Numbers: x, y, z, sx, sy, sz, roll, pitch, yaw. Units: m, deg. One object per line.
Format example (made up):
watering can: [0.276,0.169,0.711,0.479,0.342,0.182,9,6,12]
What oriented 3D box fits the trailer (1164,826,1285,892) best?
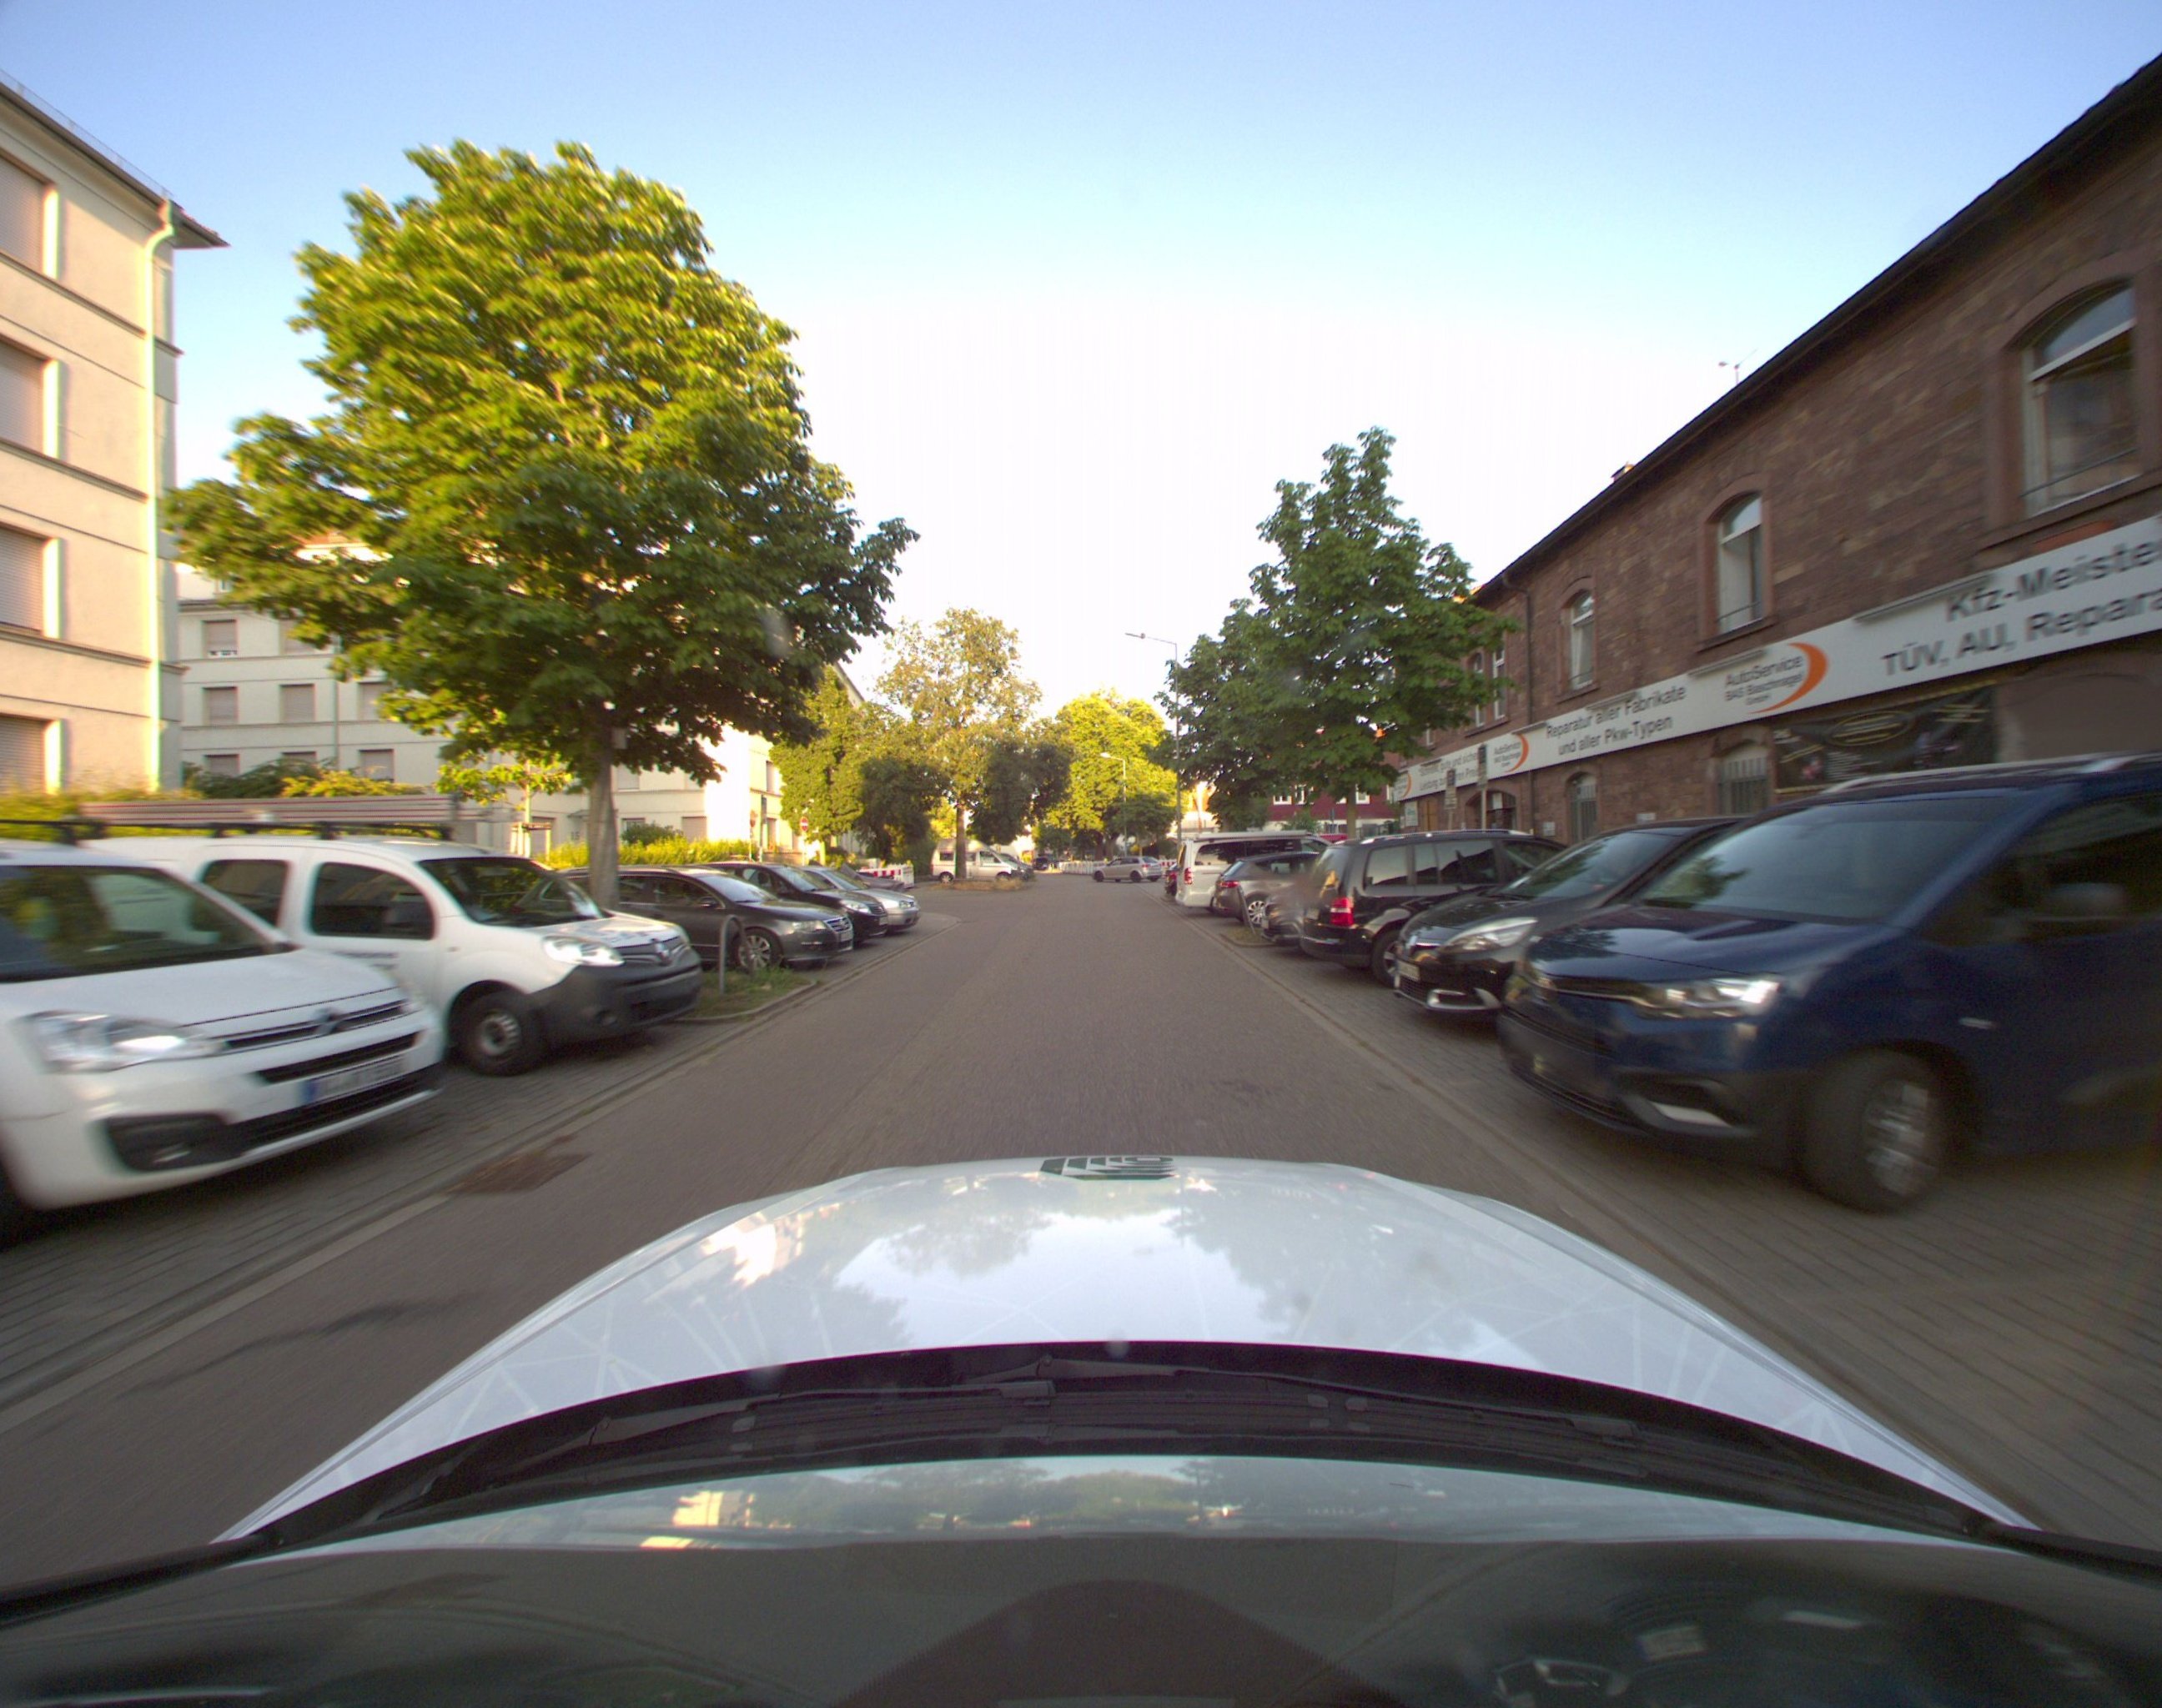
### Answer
trailer: [5.023,0.182,28.976,3.973,2.187,2.000,-1,-1,1]

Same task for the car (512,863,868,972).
car: [-5.564,0.862,11.966,4.308,1.405,1.853,1,0,3]

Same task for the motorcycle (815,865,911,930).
motorcycle: [-4.968,0.979,18.666,1.981,1.436,0.721,-1,-1,-4]

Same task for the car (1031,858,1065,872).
car: [-4.797,1.572,118.668,4.567,2.023,2.089,-1,-1,-17]

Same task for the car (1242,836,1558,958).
car: [4.530,0.584,11.976,3.936,1.565,1.819,-1,-1,-3]

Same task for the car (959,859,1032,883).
car: [-5.153,1.025,49.326,4.231,1.394,1.684,-1,-1,-1]

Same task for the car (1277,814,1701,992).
car: [4.565,0.522,9.610,3.974,1.618,1.895,-4,-1,0]

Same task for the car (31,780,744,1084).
car: [-5.588,0.529,6.977,4.491,2.070,2.003,2,1,5]

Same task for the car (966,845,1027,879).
car: [-6.455,0.611,62.344,4.496,2.431,1.996,-1,-1,-6]

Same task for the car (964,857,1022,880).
car: [-5.859,0.967,54.629,3.762,1.439,1.653,-1,-1,-5]

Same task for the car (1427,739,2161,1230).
car: [4.631,0.390,4.177,4.770,1.753,2.018,-5,0,1]

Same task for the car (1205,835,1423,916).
car: [4.651,0.428,16.710,3.973,1.510,1.777,-1,-1,1]

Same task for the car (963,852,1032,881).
car: [-5.844,0.859,57.206,4.668,1.874,1.996,-1,-1,-6]

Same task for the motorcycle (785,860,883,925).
motorcycle: [-6.245,0.972,20.676,2.221,1.582,0.774,-1,-1,4]

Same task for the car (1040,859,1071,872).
car: [-3.570,1.603,113.825,3.999,1.651,1.753,-1,-1,-19]

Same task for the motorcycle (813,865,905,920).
motorcycle: [-5.977,1.029,22.002,2.221,1.436,0.774,-1,-1,4]

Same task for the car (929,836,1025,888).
car: [-5.450,0.428,43.176,4.714,2.569,2.001,-1,-1,1]

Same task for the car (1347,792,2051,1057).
car: [4.825,0.501,6.917,4.400,1.575,1.982,-5,0,0]

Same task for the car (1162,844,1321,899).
car: [4.706,0.520,24.325,4.411,1.499,1.774,-1,-1,1]

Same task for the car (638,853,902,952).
car: [-5.397,0.824,14.457,3.970,1.583,1.730,-1,-1,3]

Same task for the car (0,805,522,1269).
car: [-5.789,0.695,4.271,4.402,1.802,1.945,0,0,4]

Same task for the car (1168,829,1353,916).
car: [4.187,0.419,19.511,3.973,1.904,2.000,-1,-1,0]

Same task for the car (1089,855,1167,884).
car: [2.542,0.829,44.532,3.949,1.488,1.825,-1,0,40]

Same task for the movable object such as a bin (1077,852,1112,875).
movable object such as a bin: [1.407,1.008,87.491,2.631,2.403,5.174,-1,-1,-13]

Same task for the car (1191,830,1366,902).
car: [5.251,0.326,22.108,4.285,1.799,1.904,-1,-1,1]

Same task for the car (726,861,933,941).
car: [-5.111,0.932,16.847,3.698,1.506,1.691,-1,-1,3]
